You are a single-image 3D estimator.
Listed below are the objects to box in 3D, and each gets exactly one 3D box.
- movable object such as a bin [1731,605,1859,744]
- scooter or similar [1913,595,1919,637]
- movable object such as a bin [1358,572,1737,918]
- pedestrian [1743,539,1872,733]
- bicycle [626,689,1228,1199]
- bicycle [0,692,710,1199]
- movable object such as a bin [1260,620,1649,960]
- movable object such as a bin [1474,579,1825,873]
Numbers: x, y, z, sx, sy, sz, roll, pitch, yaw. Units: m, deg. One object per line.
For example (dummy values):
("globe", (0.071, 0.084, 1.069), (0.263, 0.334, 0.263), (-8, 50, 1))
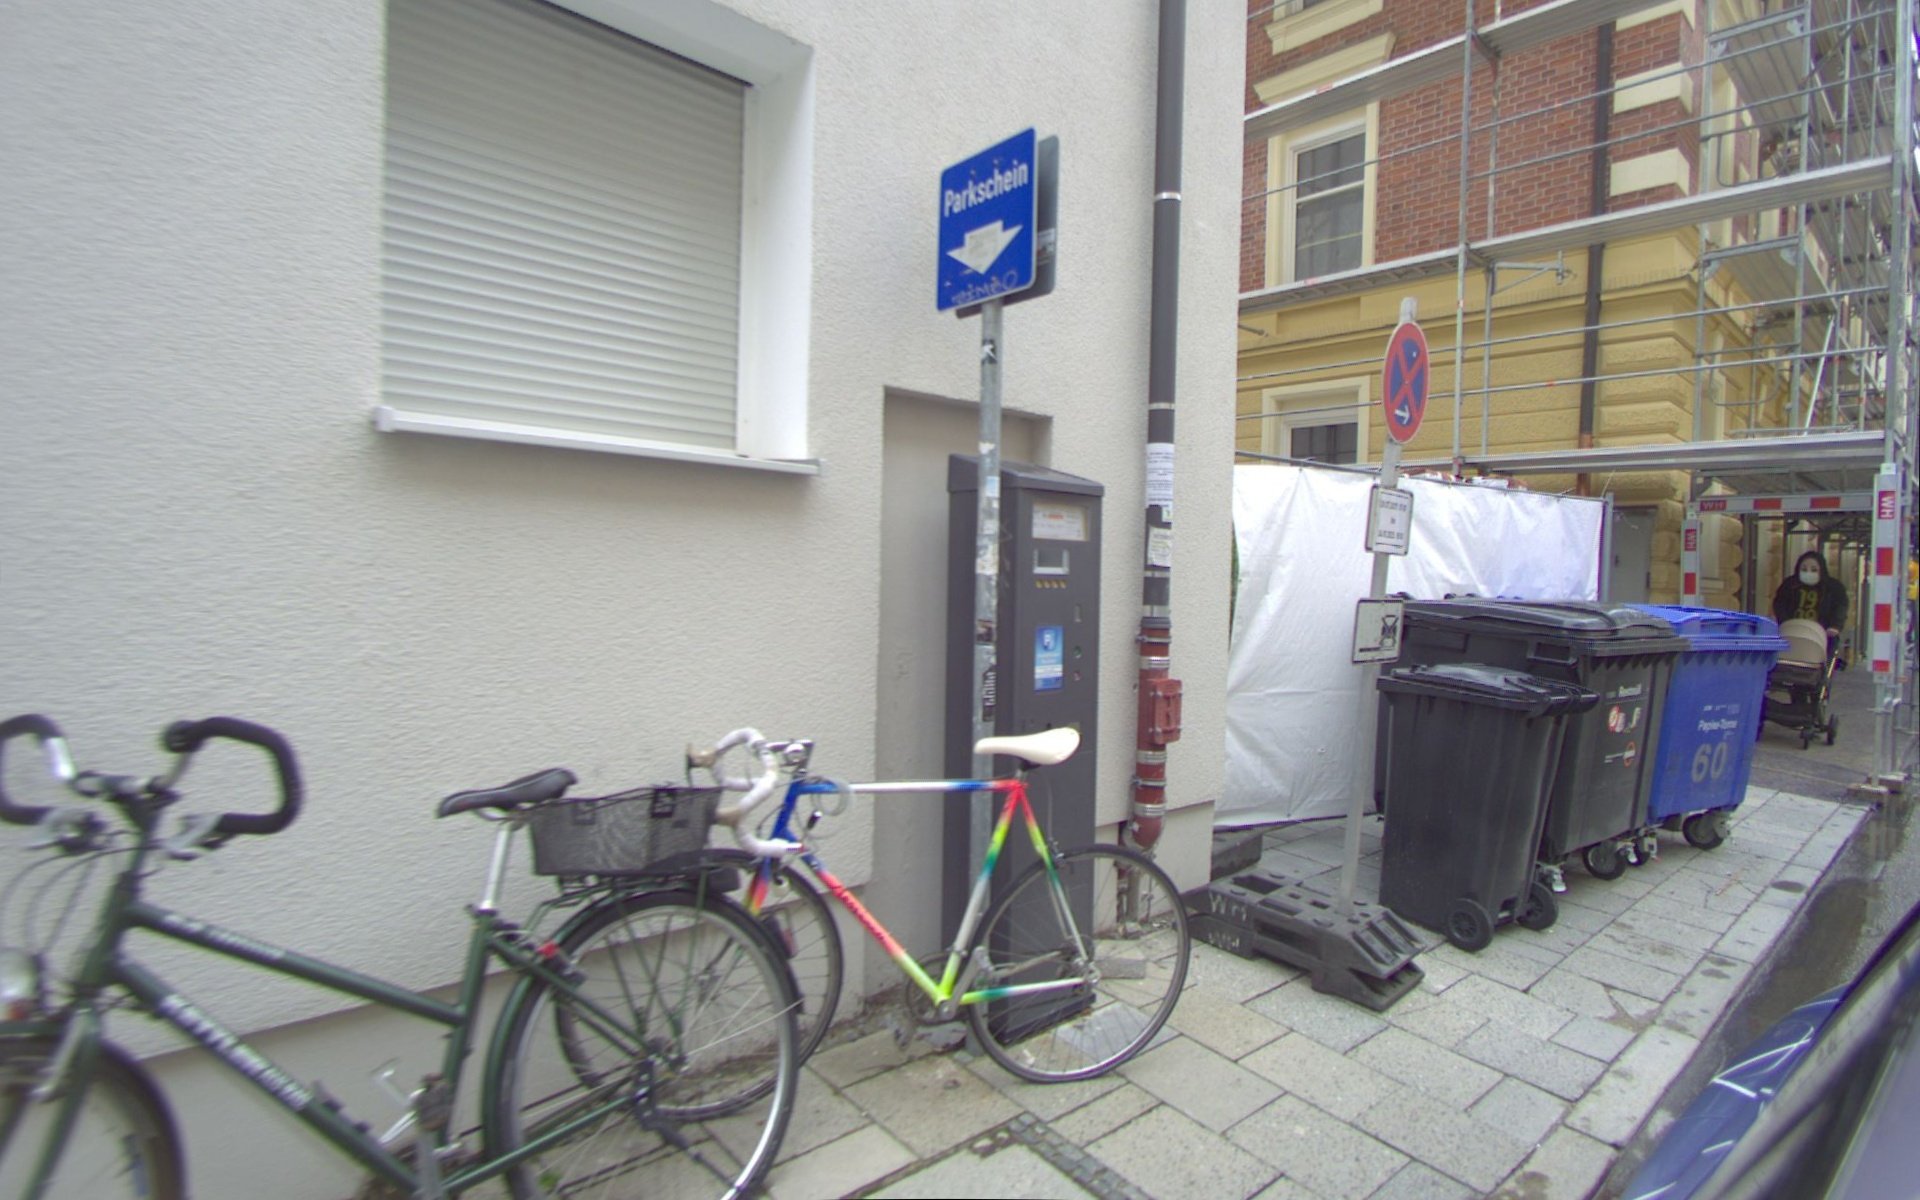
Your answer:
("movable object such as a bin", (7.908, 0.664, 9.585), (0.972, 1.154, 0.731), (0, 6, -44))
("scooter or similar", (28.709, 0.520, 29.351), (1.577, 1.197, 0.496), (3, 3, -2))
("movable object such as a bin", (2.859, 0.599, 4.980), (1.148, 1.361, 1.131), (1, 5, -35))
("pedestrian", (8.390, 0.325, 10.018), (0.972, 1.773, 0.731), (0, 5, -44))
("bicycle", (-0.019, 0.750, 2.394), (1.404, 1.003, 0.282), (1, 4, -30))
("bicycle", (-1.069, 0.732, 1.591), (0.403, 1.003, 1.311), (6, 5, 38))
("movable object such as a bin", (2.088, 0.711, 4.396), (0.774, 1.108, 1.216), (1, 5, -35))
("movable object such as a bin", (3.851, 0.617, 5.696), (1.291, 1.362, 1.092), (1, 4, -30))
